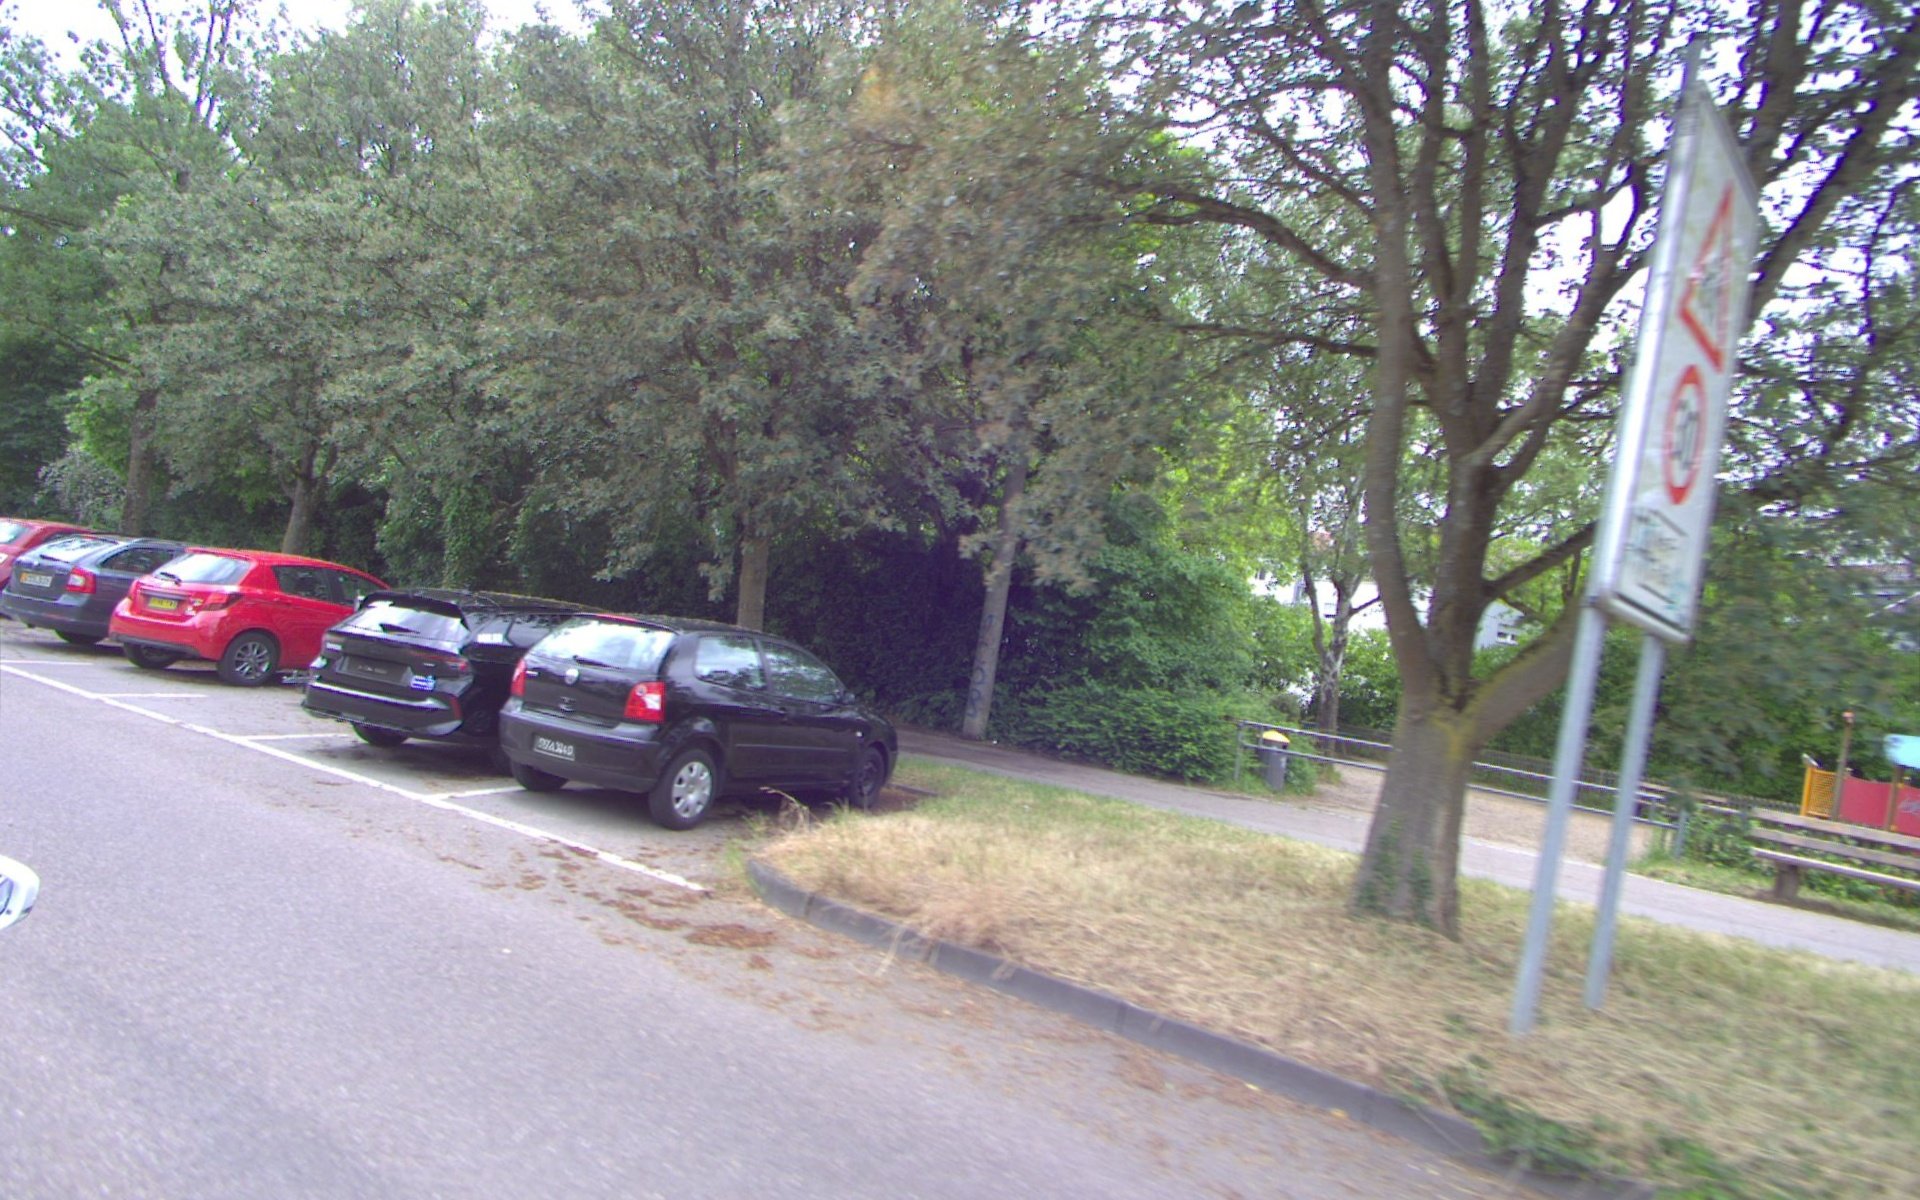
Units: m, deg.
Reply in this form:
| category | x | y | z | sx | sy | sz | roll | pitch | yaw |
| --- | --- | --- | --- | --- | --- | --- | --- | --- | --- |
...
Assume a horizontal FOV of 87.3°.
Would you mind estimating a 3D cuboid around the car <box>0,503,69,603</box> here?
| category | x | y | z | sx | sy | sz | roll | pitch | yaw |
| --- | --- | --- | --- | --- | --- | --- | --- | --- | --- |
| car | -18.859 | -1.108 | 17.930 | 1.649 | 1.743 | 4.005 | 7 | -3 | 19 |

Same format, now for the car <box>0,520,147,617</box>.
| category | x | y | z | sx | sy | sz | roll | pitch | yaw |
| --- | --- | --- | --- | --- | --- | --- | --- | --- | --- |
| car | -16.522 | -0.687 | 16.838 | 1.666 | 1.422 | 4.180 | 7 | -3 | 18 |

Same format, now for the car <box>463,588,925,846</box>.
| category | x | y | z | sx | sy | sz | roll | pitch | yaw |
| --- | --- | --- | --- | --- | --- | --- | --- | --- | --- |
| car | -1.935 | 0.963 | 8.483 | 1.548 | 1.492 | 3.730 | 8 | -3 | 26 |

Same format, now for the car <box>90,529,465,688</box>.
| category | x | y | z | sx | sy | sz | roll | pitch | yaw |
| --- | --- | --- | --- | --- | --- | --- | --- | --- | --- |
| car | -8.235 | 0.224 | 12.547 | 1.562 | 1.492 | 3.541 | 7 | -3 | 16 |

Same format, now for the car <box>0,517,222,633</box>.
| category | x | y | z | sx | sy | sz | roll | pitch | yaw |
| --- | --- | --- | --- | --- | --- | --- | --- | --- | --- |
| car | -14.338 | -0.407 | 16.331 | 1.604 | 1.480 | 3.342 | 7 | -3 | 19 |

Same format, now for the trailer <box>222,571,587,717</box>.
| category | x | y | z | sx | sy | sz | roll | pitch | yaw |
| --- | --- | --- | --- | --- | --- | --- | --- | --- | --- |
| trailer | -6.209 | 0.589 | 11.687 | 1.586 | 1.280 | 3.418 | 7 | -3 | 19 |

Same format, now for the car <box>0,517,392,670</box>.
| category | x | y | z | sx | sy | sz | roll | pitch | yaw |
| --- | --- | --- | --- | --- | --- | --- | --- | --- | --- |
| car | -10.296 | 0.027 | 13.778 | 1.604 | 1.480 | 4.239 | 7 | -3 | 20 |

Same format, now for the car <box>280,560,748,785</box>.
| category | x | y | z | sx | sy | sz | roll | pitch | yaw |
| --- | --- | --- | --- | --- | --- | --- | --- | --- | --- |
| car | -3.832 | 0.725 | 9.567 | 1.547 | 1.492 | 4.156 | 7 | -3 | 18 |

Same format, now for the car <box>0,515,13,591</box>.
| category | x | y | z | sx | sy | sz | roll | pitch | yaw |
| --- | --- | --- | --- | --- | --- | --- | --- | --- | --- |
| car | -21.165 | -1.241 | 19.366 | 1.577 | 1.546 | 3.836 | 7 | -3 | 24 |
